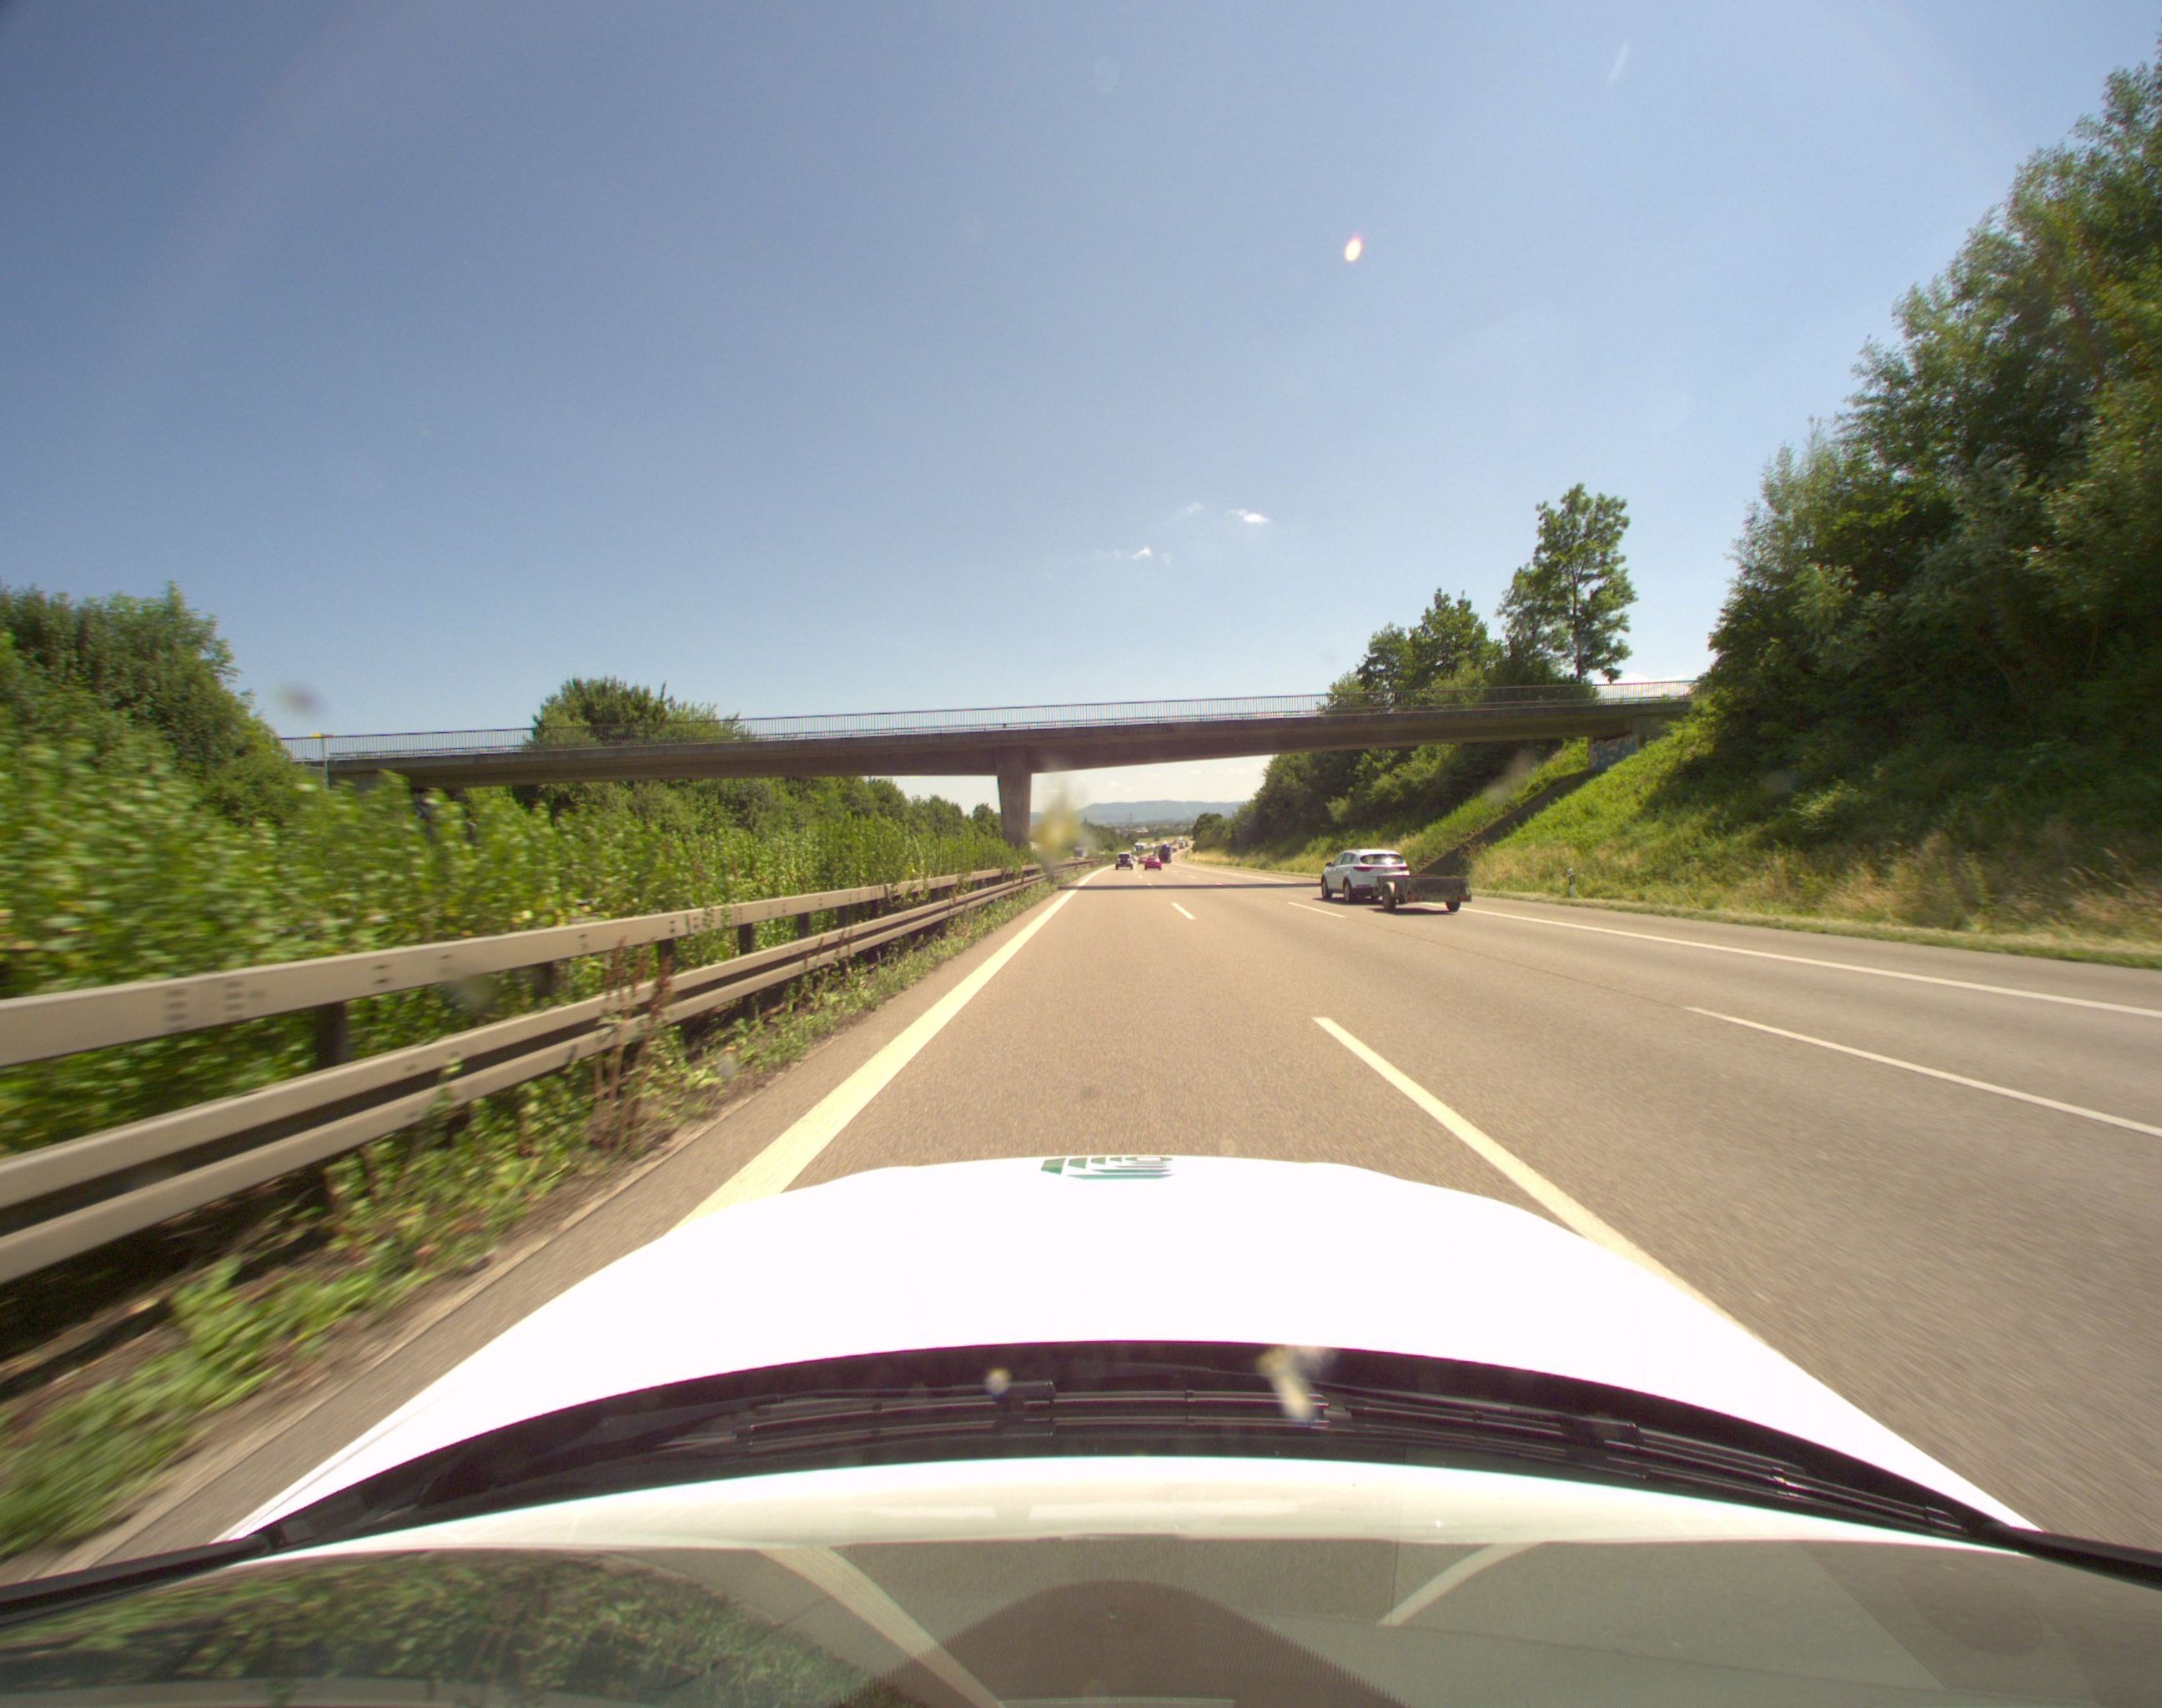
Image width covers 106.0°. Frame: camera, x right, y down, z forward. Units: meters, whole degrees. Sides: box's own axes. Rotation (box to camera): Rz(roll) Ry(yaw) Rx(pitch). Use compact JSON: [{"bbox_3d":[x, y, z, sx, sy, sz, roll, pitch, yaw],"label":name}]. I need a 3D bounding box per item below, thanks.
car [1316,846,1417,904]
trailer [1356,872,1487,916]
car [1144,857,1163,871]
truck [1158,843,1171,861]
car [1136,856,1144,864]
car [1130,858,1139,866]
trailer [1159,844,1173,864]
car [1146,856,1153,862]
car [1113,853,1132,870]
[{"bbox_3d":[8.934,0.585,25.838,1.774,1.650,4.405,-1,1,2],"label":"car"},{"bbox_3d":[8.792,0.989,21.449,1.748,0.908,4.321,-1,0,1],"label":"trailer"},{"bbox_3d":[7.769,1.034,87.579,1.680,1.378,3.949,-1,1,0],"label":"car"},{"bbox_3d":[19.011,-0.459,185.246,2.741,3.852,6.653,0,1,5],"label":"truck"},{"bbox_3d":[11.062,1.123,151.690,1.446,1.267,3.542,0,1,4],"label":"car"},{"bbox_3d":[13.991,2.020,211.687,1.686,2.013,3.835,0,1,12],"label":"car"},{"bbox_3d":[18.377,-0.139,177.627,2.841,3.993,15.421,0,1,5],"label":"trailer"},{"bbox_3d":[20.612,1.472,245.437,1.624,1.704,3.413,0,1,12],"label":"car"},{"bbox_3d":[4.634,0.832,91.974,2.076,1.829,4.756,-1,1,2],"label":"car"}]
